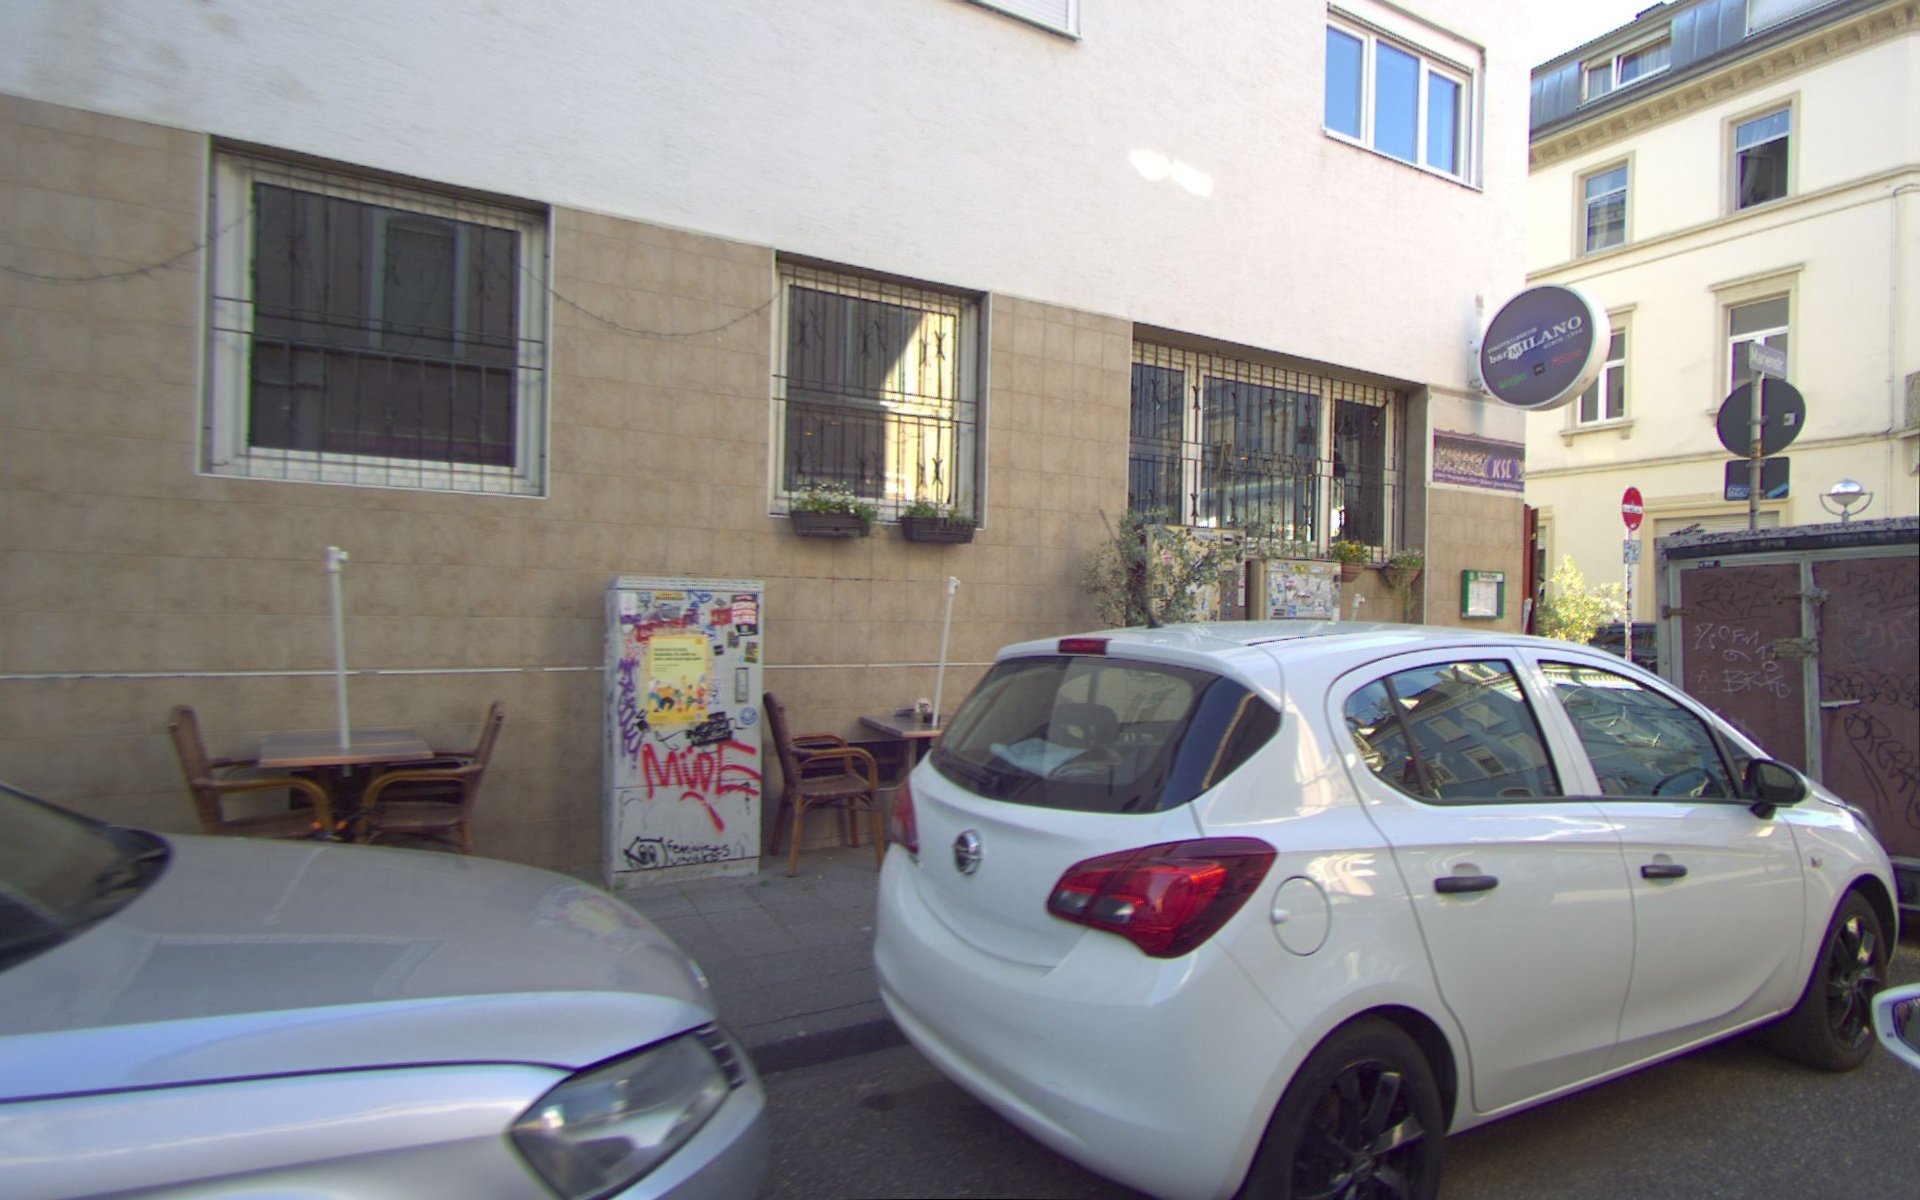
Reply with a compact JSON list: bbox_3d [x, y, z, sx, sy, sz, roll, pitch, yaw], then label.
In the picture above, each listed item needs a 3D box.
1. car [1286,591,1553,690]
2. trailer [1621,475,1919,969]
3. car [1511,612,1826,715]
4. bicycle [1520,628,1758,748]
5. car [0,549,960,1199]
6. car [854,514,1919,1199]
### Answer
[{"bbox_3d":[9.679,0.768,21.644,1.837,1.875,5.056,1,0,-32],"label":"car"},{"bbox_3d":[5.708,0.584,5.705,4.316,2.088,1.652,2,-2,-32],"label":"trailer"},{"bbox_3d":[12.064,0.993,17.393,1.739,1.475,4.118,1,0,-31],"label":"car"},{"bbox_3d":[8.876,1.087,13.278,0.917,1.377,2.465,1,-1,-28],"label":"bicycle"},{"bbox_3d":[-2.345,0.697,1.212,4.477,1.516,1.666,2,-2,-30],"label":"car"},{"bbox_3d":[1.712,0.715,3.388,3.773,1.575,1.669,2,-2,-30],"label":"car"}]
